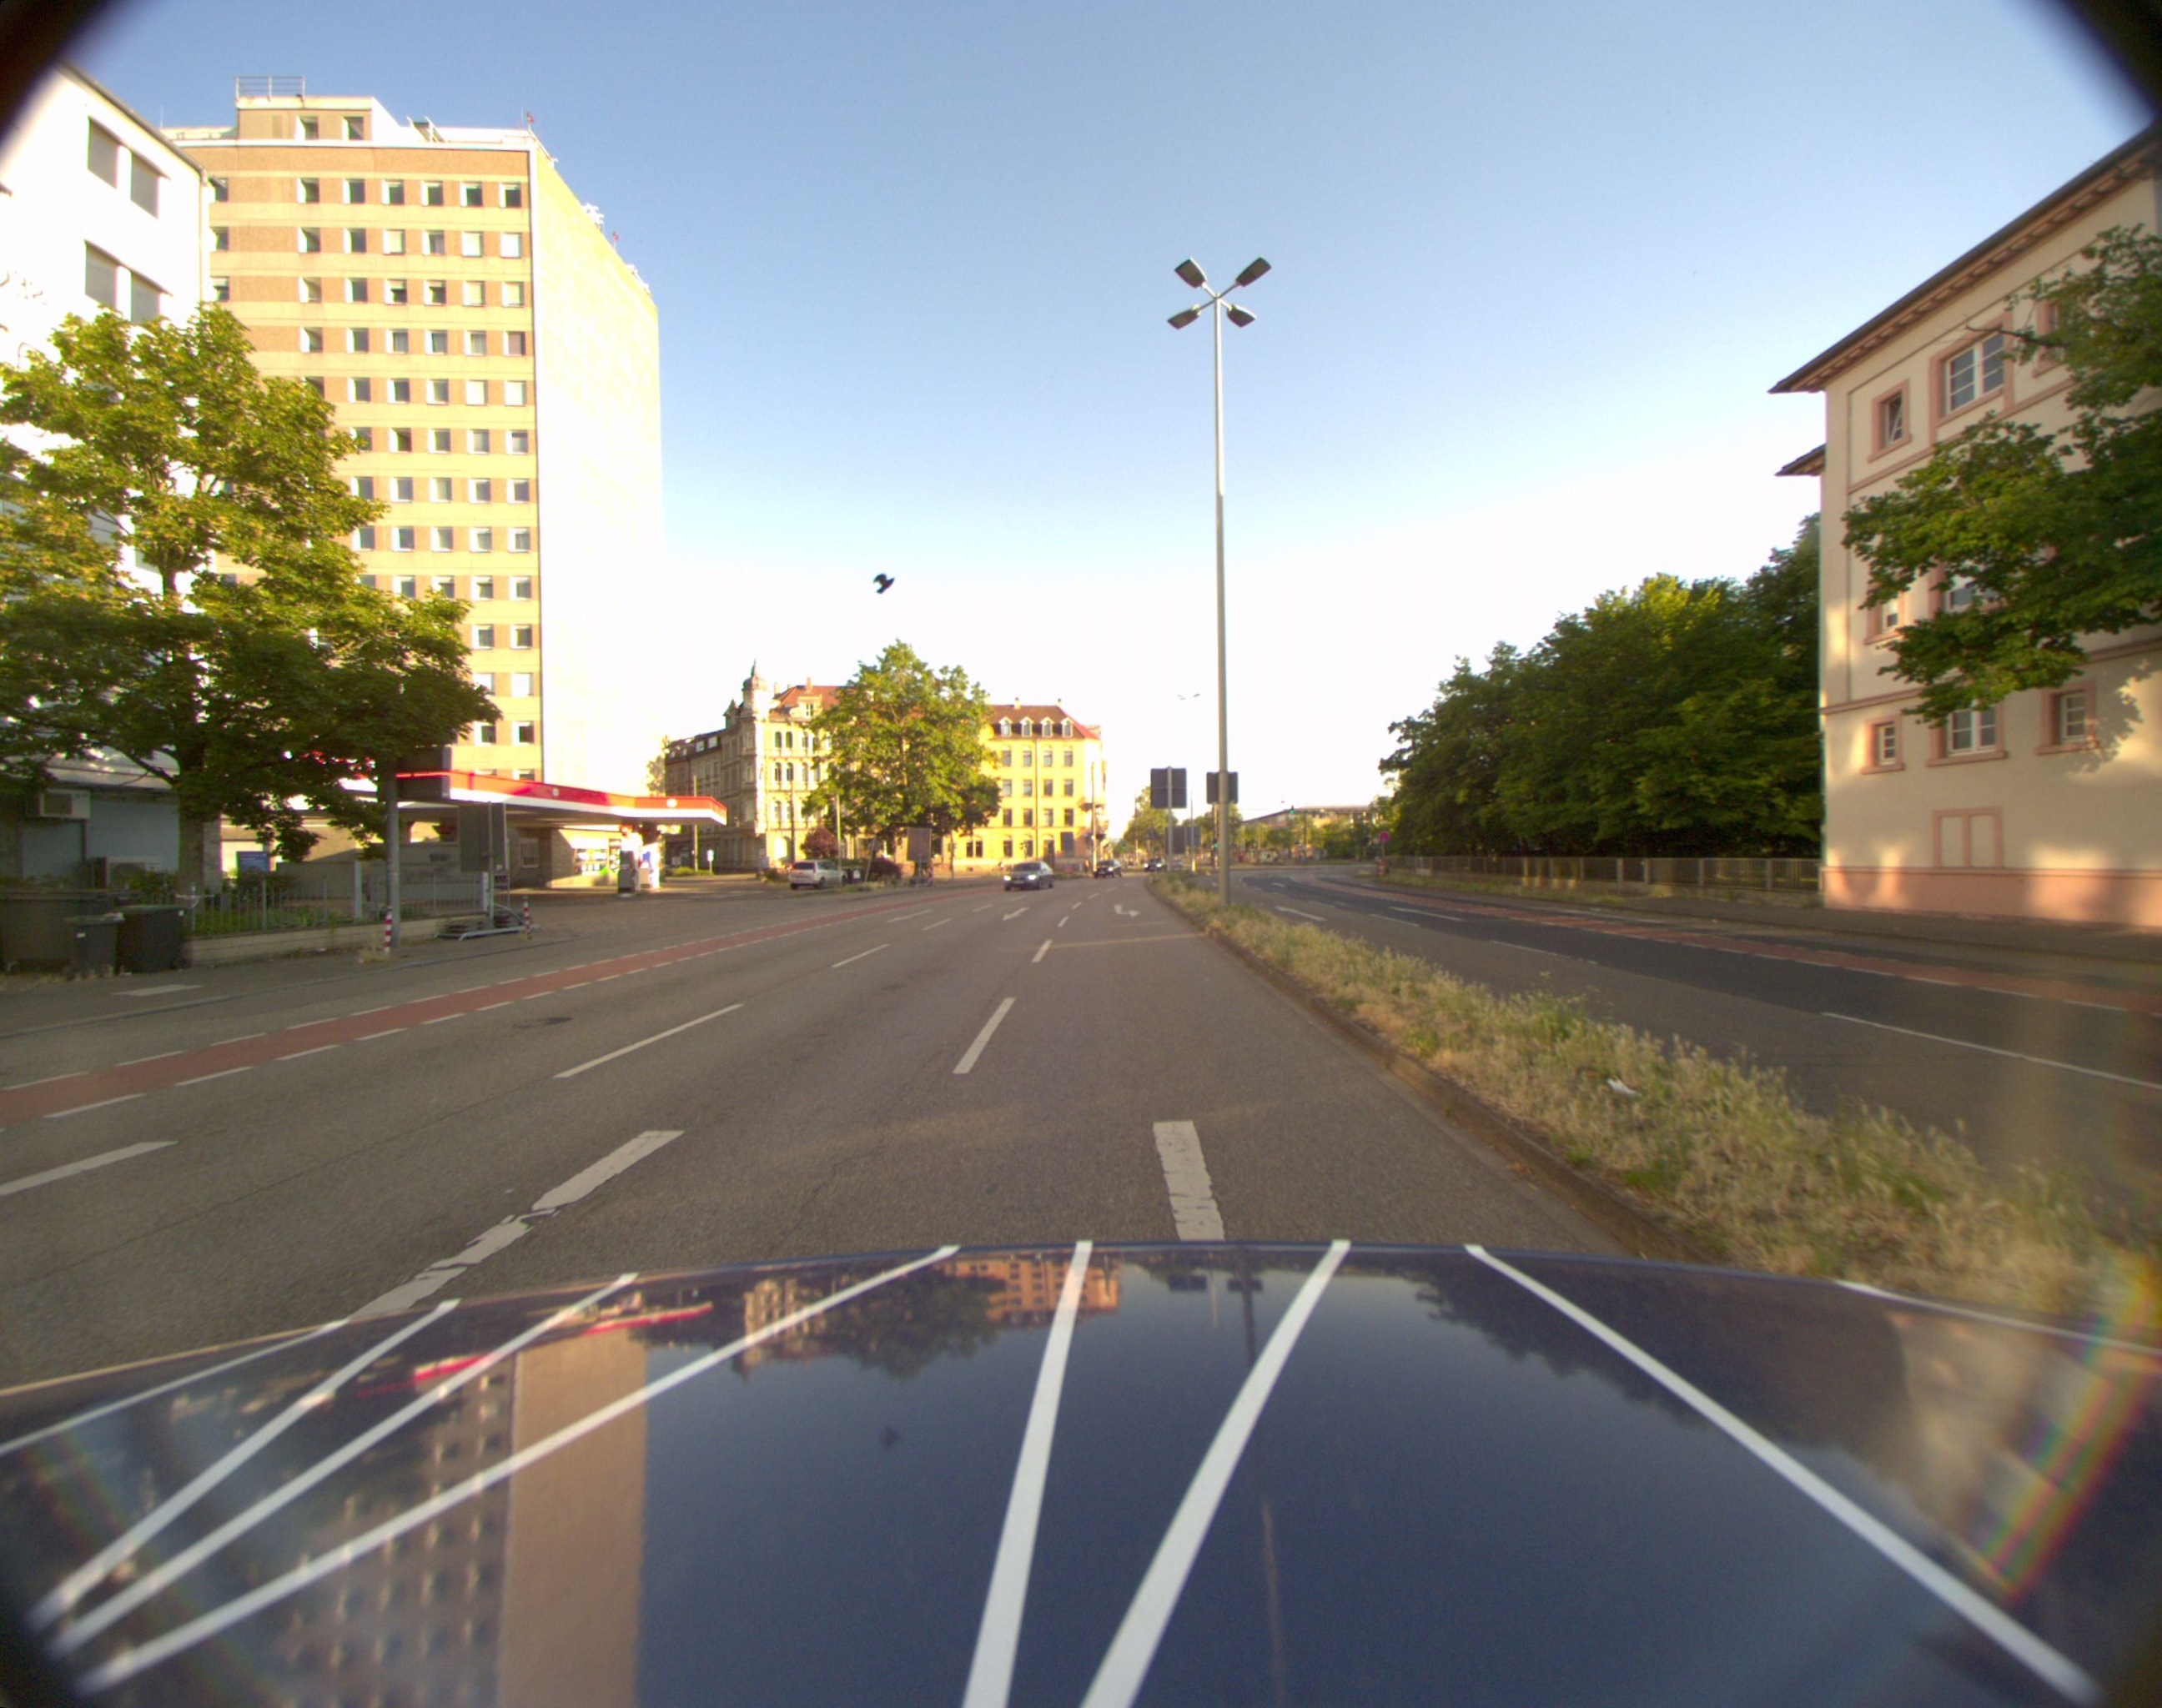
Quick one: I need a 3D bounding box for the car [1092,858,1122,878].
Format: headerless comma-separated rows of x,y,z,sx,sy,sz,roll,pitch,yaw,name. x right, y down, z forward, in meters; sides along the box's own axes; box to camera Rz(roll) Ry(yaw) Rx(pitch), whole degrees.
2.116,1.070,60.626,1.583,1.440,3.876,-2,0,13,car

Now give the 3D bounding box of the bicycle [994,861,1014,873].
-7.359,1.247,72.756,1.927,1.053,0.451,-1,1,-7,bicycle

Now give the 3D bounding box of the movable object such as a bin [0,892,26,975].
-17.916,1.301,11.990,0.956,1.320,1.098,-1,1,-2,movable object such as a bin

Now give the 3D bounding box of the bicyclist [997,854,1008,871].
-7.512,0.793,72.907,1.065,1.639,0.732,-1,1,-6,bicyclist

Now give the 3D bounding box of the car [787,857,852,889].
-13.795,0.966,40.331,1.688,1.508,3.798,-1,1,8,car

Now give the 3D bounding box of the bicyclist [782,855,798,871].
-26.572,0.803,69.384,1.069,1.357,0.854,-3,1,-6,bicyclist

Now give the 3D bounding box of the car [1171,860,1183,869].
15.809,1.724,124.911,1.673,1.410,4.443,-2,0,9,car

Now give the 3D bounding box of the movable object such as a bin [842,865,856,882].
-13.686,1.149,44.820,0.544,1.013,0.688,-1,1,6,movable object such as a bin

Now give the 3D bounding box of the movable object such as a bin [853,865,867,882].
-12.967,1.135,44.606,0.544,1.013,0.688,-1,1,6,movable object such as a bin

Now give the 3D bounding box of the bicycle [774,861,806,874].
-26.544,1.224,69.359,2.621,1.063,0.784,-3,1,-5,bicycle

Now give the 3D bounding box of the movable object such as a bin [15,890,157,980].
-15.848,1.271,12.135,0.956,1.320,0.954,-1,1,-2,movable object such as a bin

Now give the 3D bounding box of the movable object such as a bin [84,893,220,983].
-14.865,1.327,12.194,0.956,1.320,0.954,-1,1,-2,movable object such as a bin

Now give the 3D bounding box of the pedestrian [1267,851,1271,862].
34.313,0.441,138.912,0.556,2.002,0.664,-1,1,1,pedestrian

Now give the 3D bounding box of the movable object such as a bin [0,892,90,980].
-16.910,1.278,12.029,0.956,1.276,1.098,-1,1,-2,movable object such as a bin

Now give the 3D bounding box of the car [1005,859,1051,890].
-2.737,1.036,40.370,1.819,1.440,4.668,-2,0,4,car

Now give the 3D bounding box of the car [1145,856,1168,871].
7.593,0.924,76.006,1.729,1.440,4.050,-2,0,14,car
